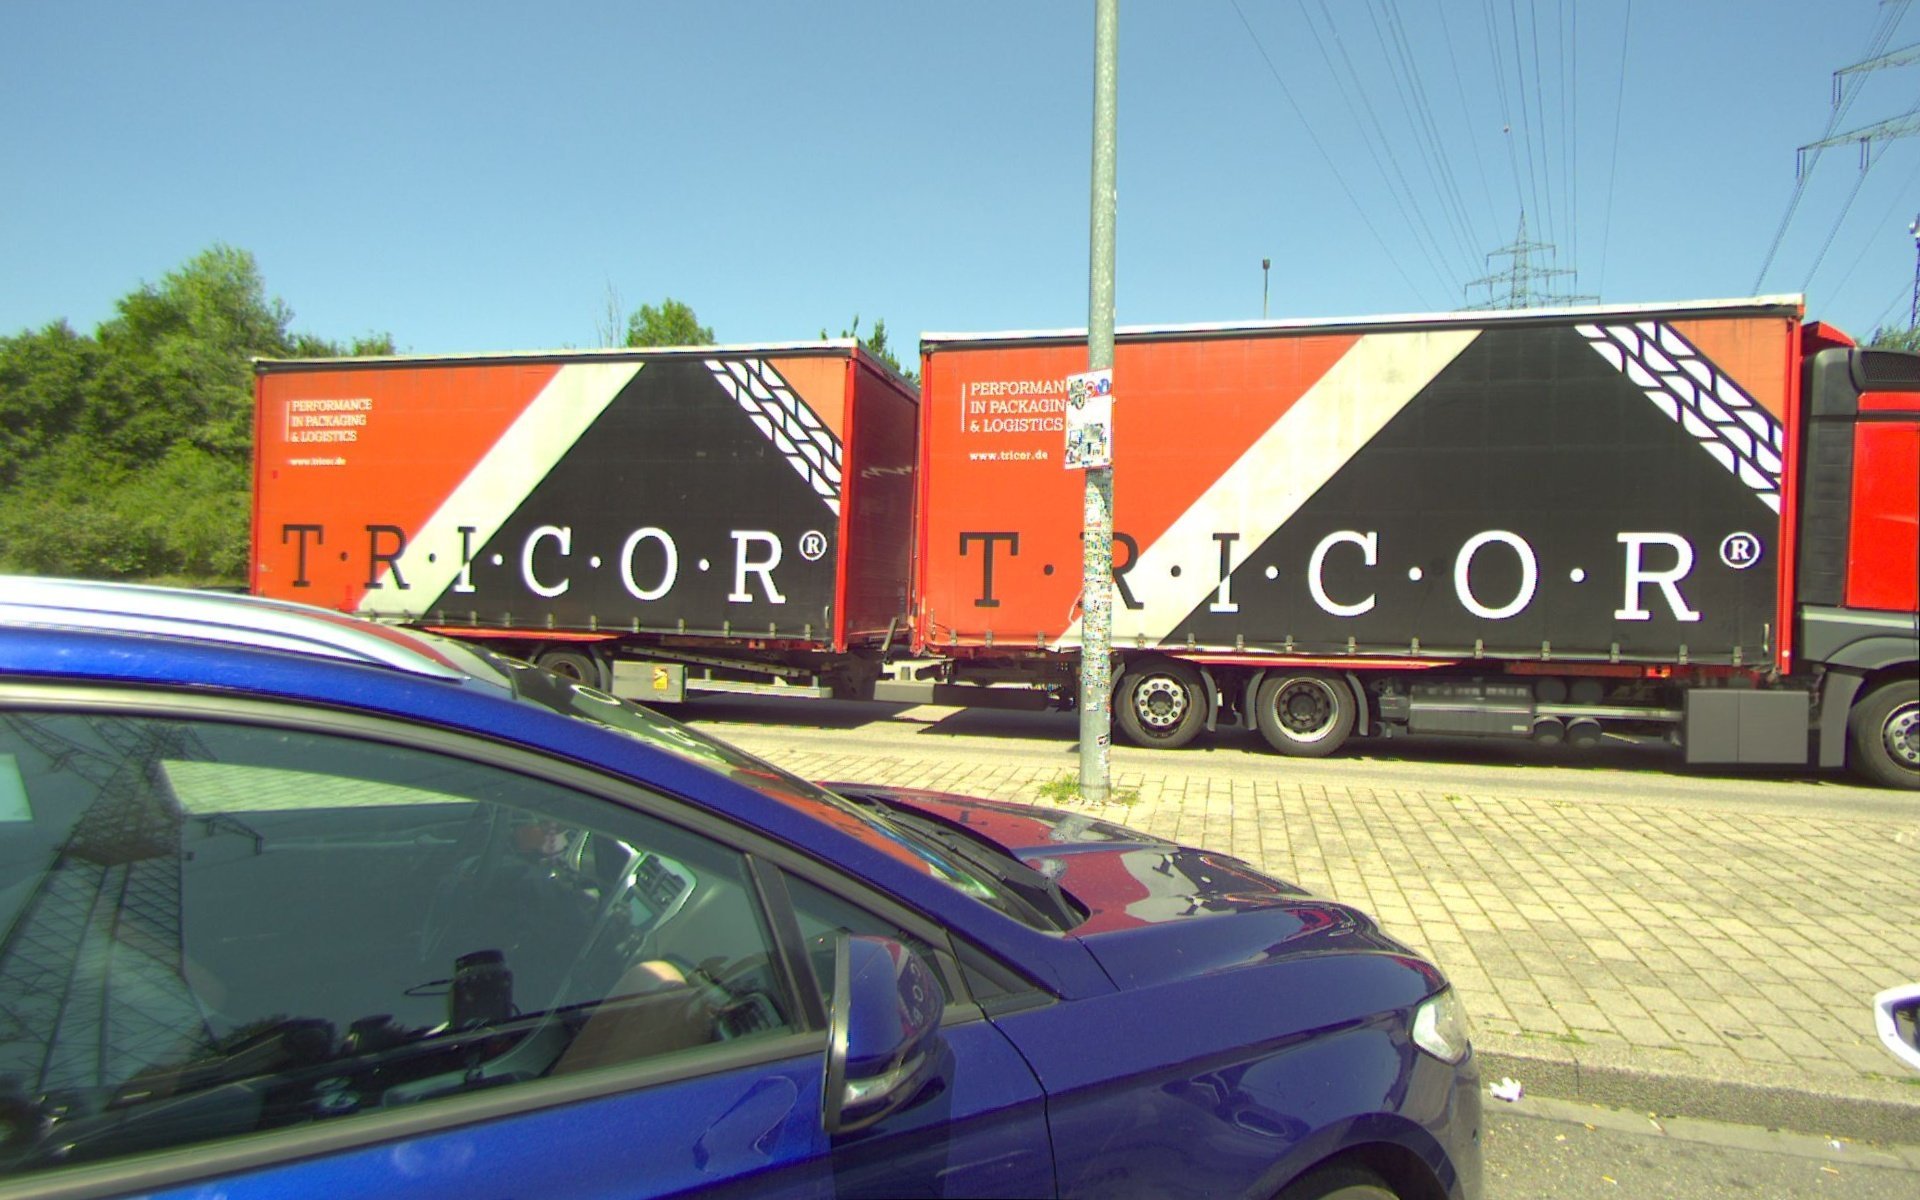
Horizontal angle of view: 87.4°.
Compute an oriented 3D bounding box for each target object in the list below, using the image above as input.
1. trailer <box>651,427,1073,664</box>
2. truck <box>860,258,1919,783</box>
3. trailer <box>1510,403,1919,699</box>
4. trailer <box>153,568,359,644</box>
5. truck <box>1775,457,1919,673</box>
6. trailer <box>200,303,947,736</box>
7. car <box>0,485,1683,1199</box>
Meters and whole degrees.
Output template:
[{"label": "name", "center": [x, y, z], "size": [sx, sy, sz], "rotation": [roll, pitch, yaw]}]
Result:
[{"label": "trailer", "center": [-1.786, -0.920, 20.305], "size": [8.158, 4.027, 2.651], "rotation": [0, 1, -31]}, {"label": "truck", "center": [4.374, -0.671, 10.189], "size": [10.390, 4.183, 2.695], "rotation": [1, 1, 14]}, {"label": "trailer", "center": [15.307, -0.672, 18.505], "size": [13.129, 4.112, 2.736], "rotation": [0, 1, -31]}, {"label": "trailer", "center": [-16.507, 0.143, 23.782], "size": [3.856, 1.684, 1.464], "rotation": [0, 1, -30]}, {"label": "truck", "center": [20.823, -0.676, 21.767], "size": [6.749, 4.136, 2.729], "rotation": [0, 1, -31]}, {"label": "trailer", "center": [-4.655, -0.840, 12.415], "size": [8.509, 4.315, 2.844], "rotation": [1, 1, 14]}, {"label": "car", "center": [-1.004, 0.653, 1.460], "size": [4.419, 1.485, 1.765], "rotation": [0, 1, -32]}]
